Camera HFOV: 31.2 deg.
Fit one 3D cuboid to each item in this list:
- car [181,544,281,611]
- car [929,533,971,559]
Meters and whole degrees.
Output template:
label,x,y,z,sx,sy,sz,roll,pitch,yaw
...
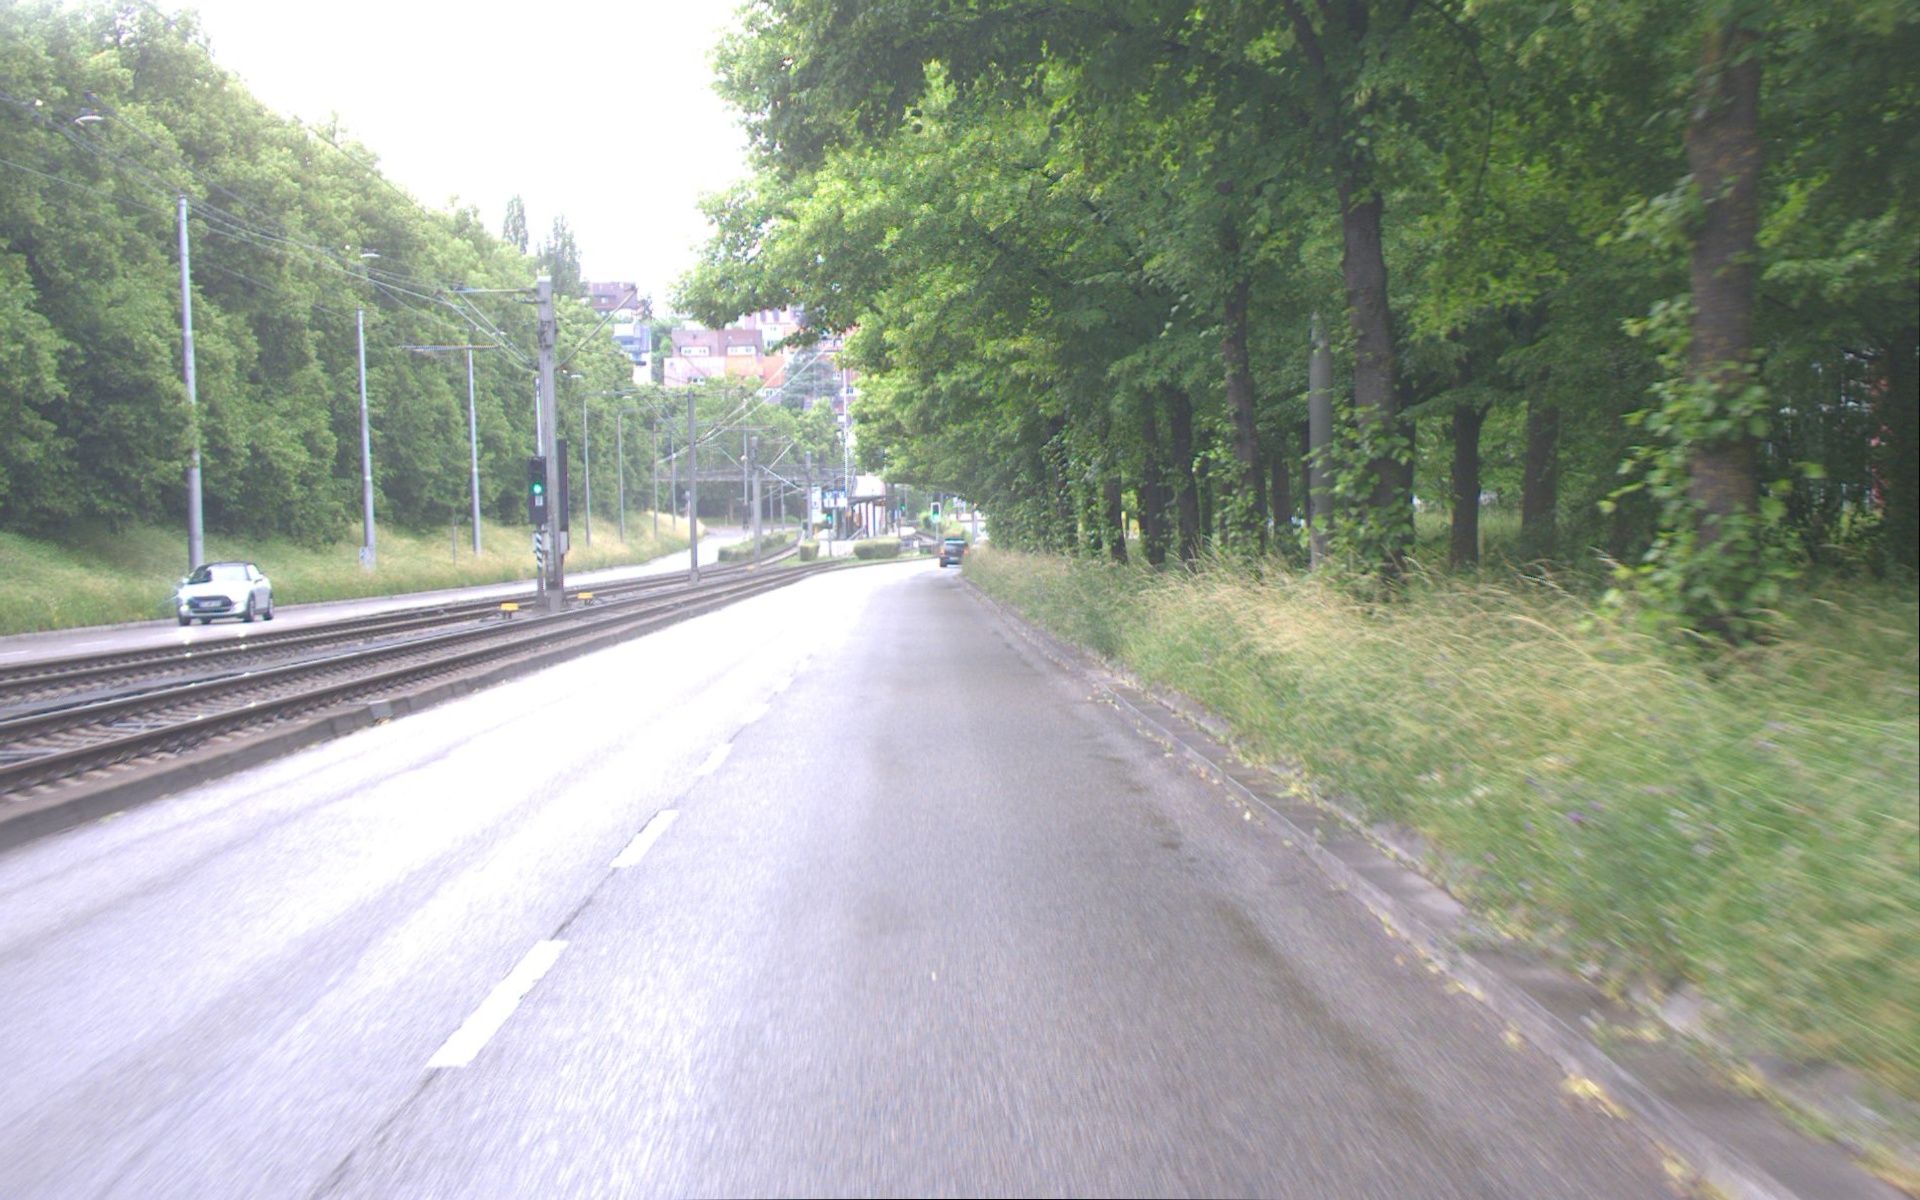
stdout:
label,x,y,z,sx,sy,sz,roll,pitch,yaw
car,-17.094,-0.552,80.741,1.476,1.431,3.909,-3,1,0
car,-0.559,-2.962,188.437,2.194,1.325,4.001,0,2,-1
